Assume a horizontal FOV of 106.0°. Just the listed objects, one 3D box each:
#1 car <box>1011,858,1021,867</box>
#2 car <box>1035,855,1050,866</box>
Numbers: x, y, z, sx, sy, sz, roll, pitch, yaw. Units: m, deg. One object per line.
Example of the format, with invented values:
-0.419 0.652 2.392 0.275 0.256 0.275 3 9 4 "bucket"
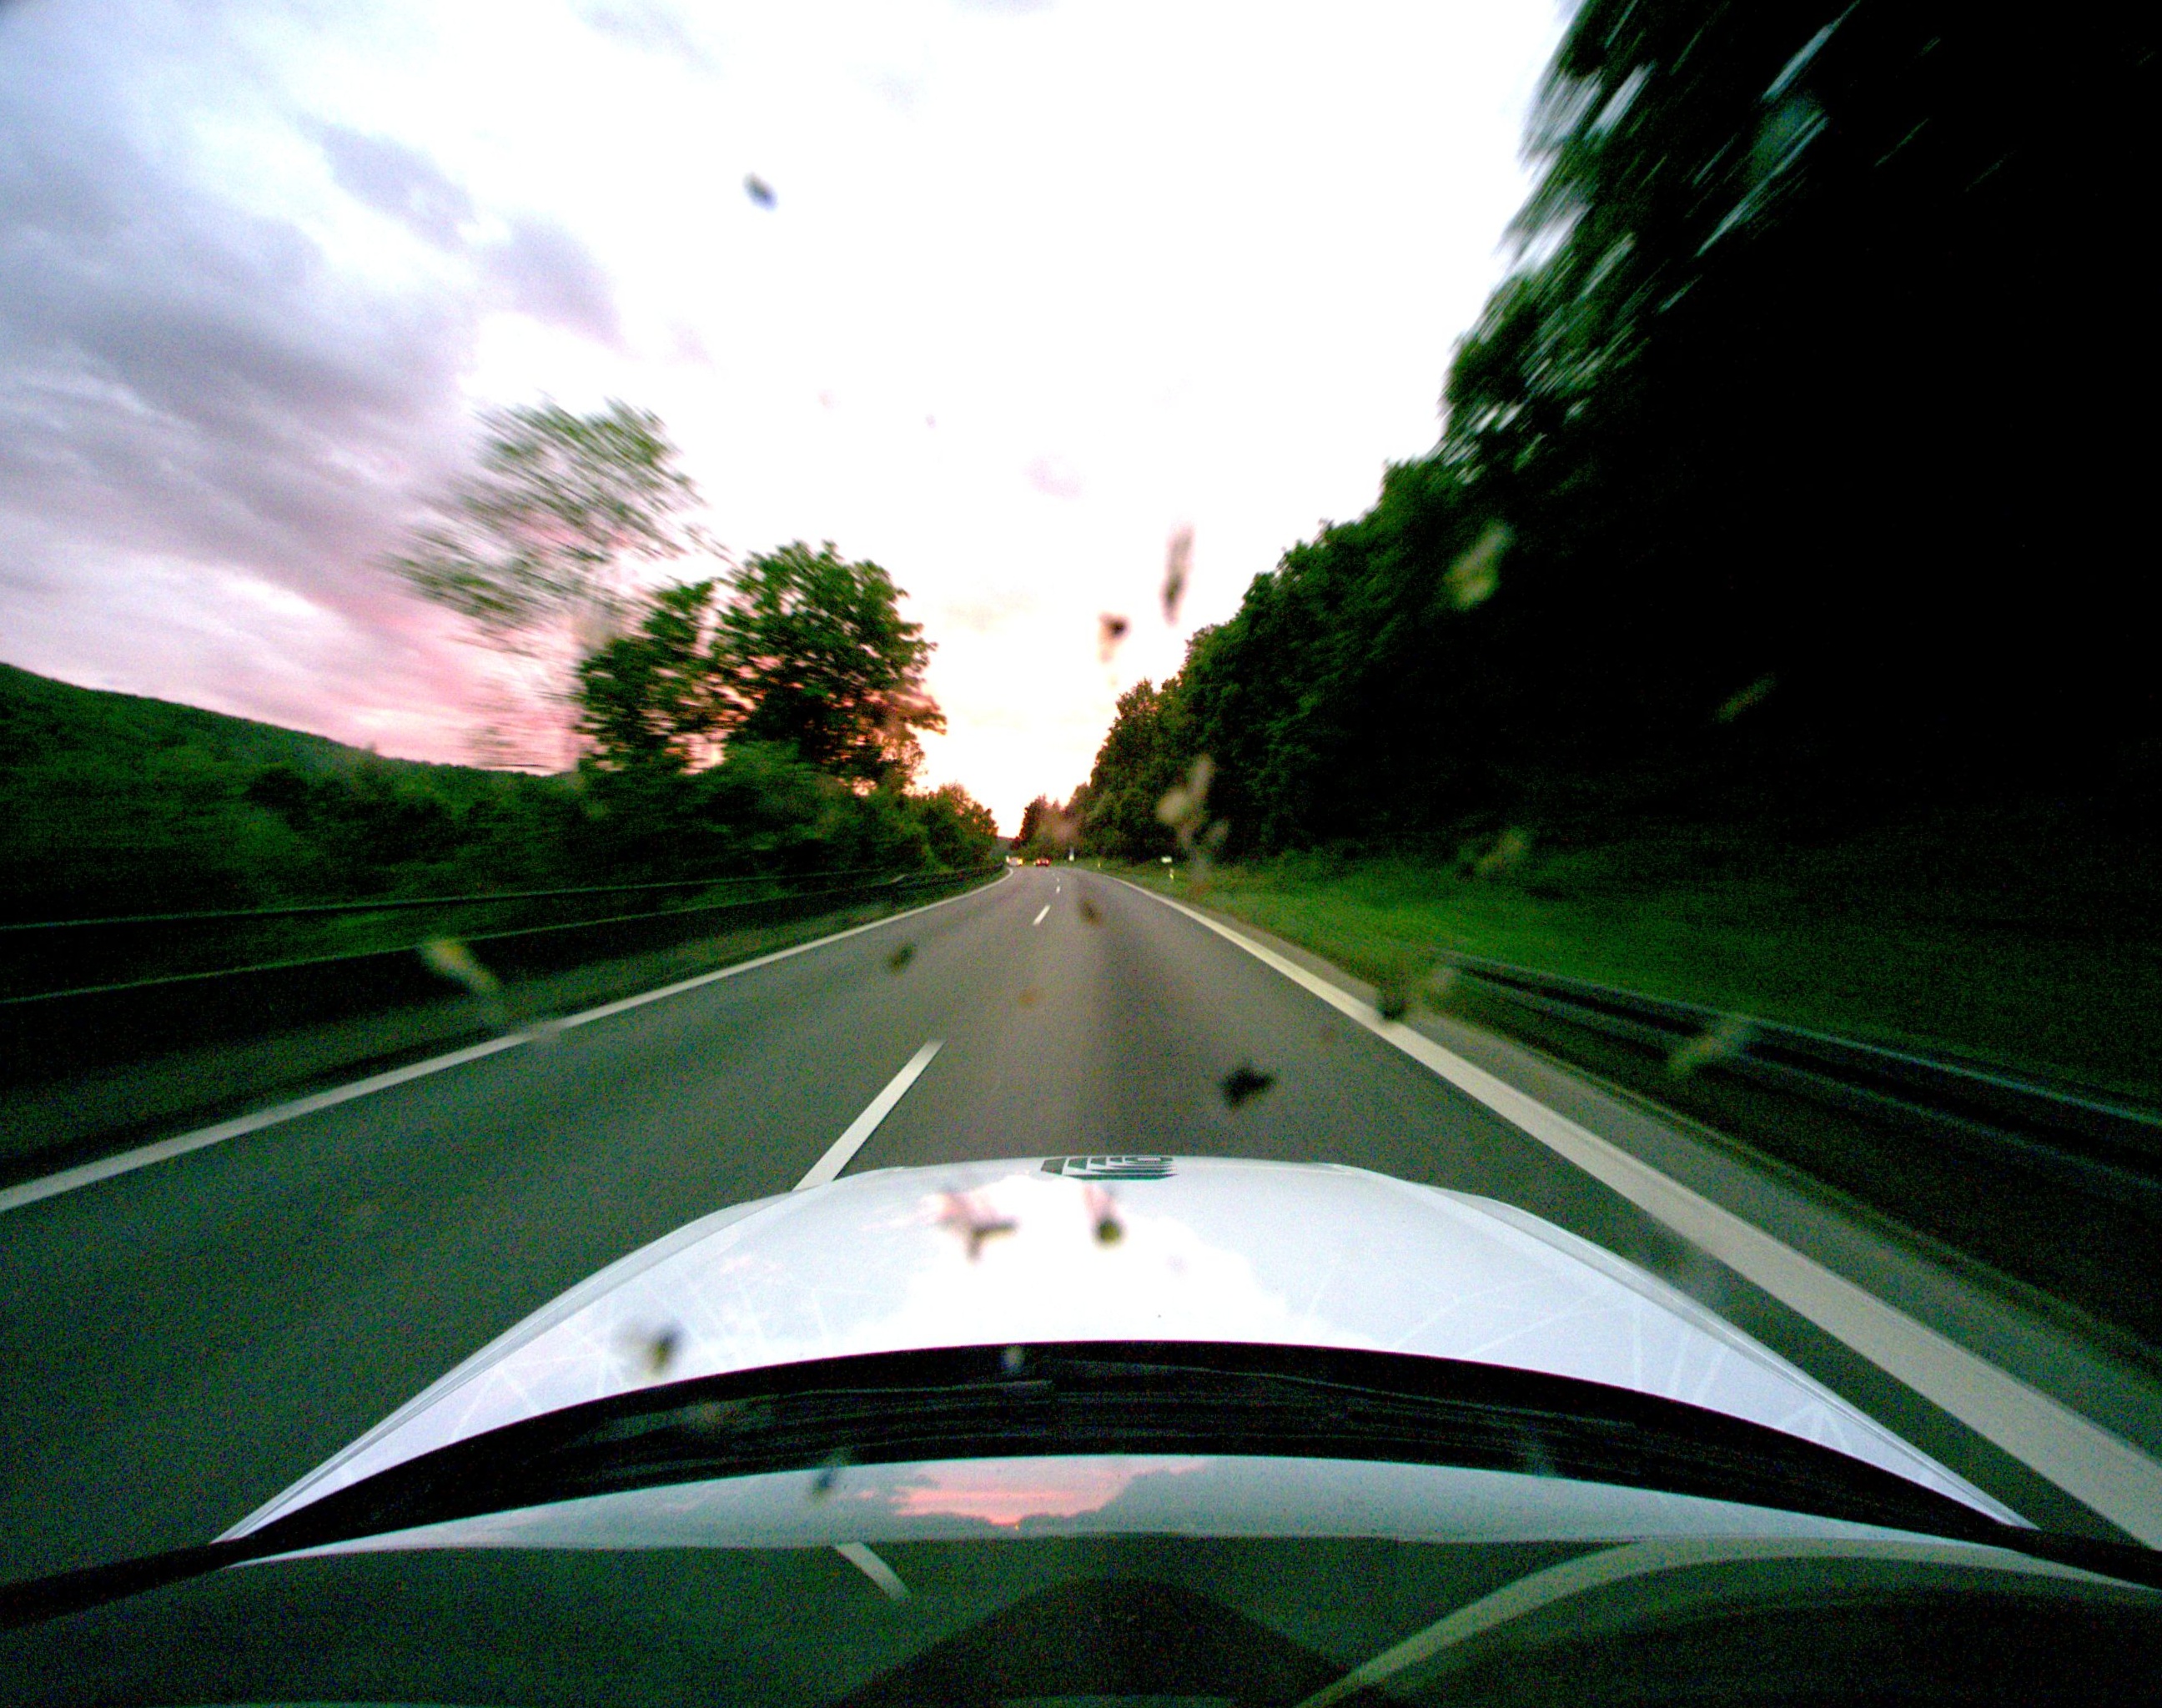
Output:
-11.159 1.455 140.032 1.714 1.501 3.995 0 -2 -2 "car"
-6.329 1.055 134.204 1.992 1.646 3.988 2 -4 -8 "car"
